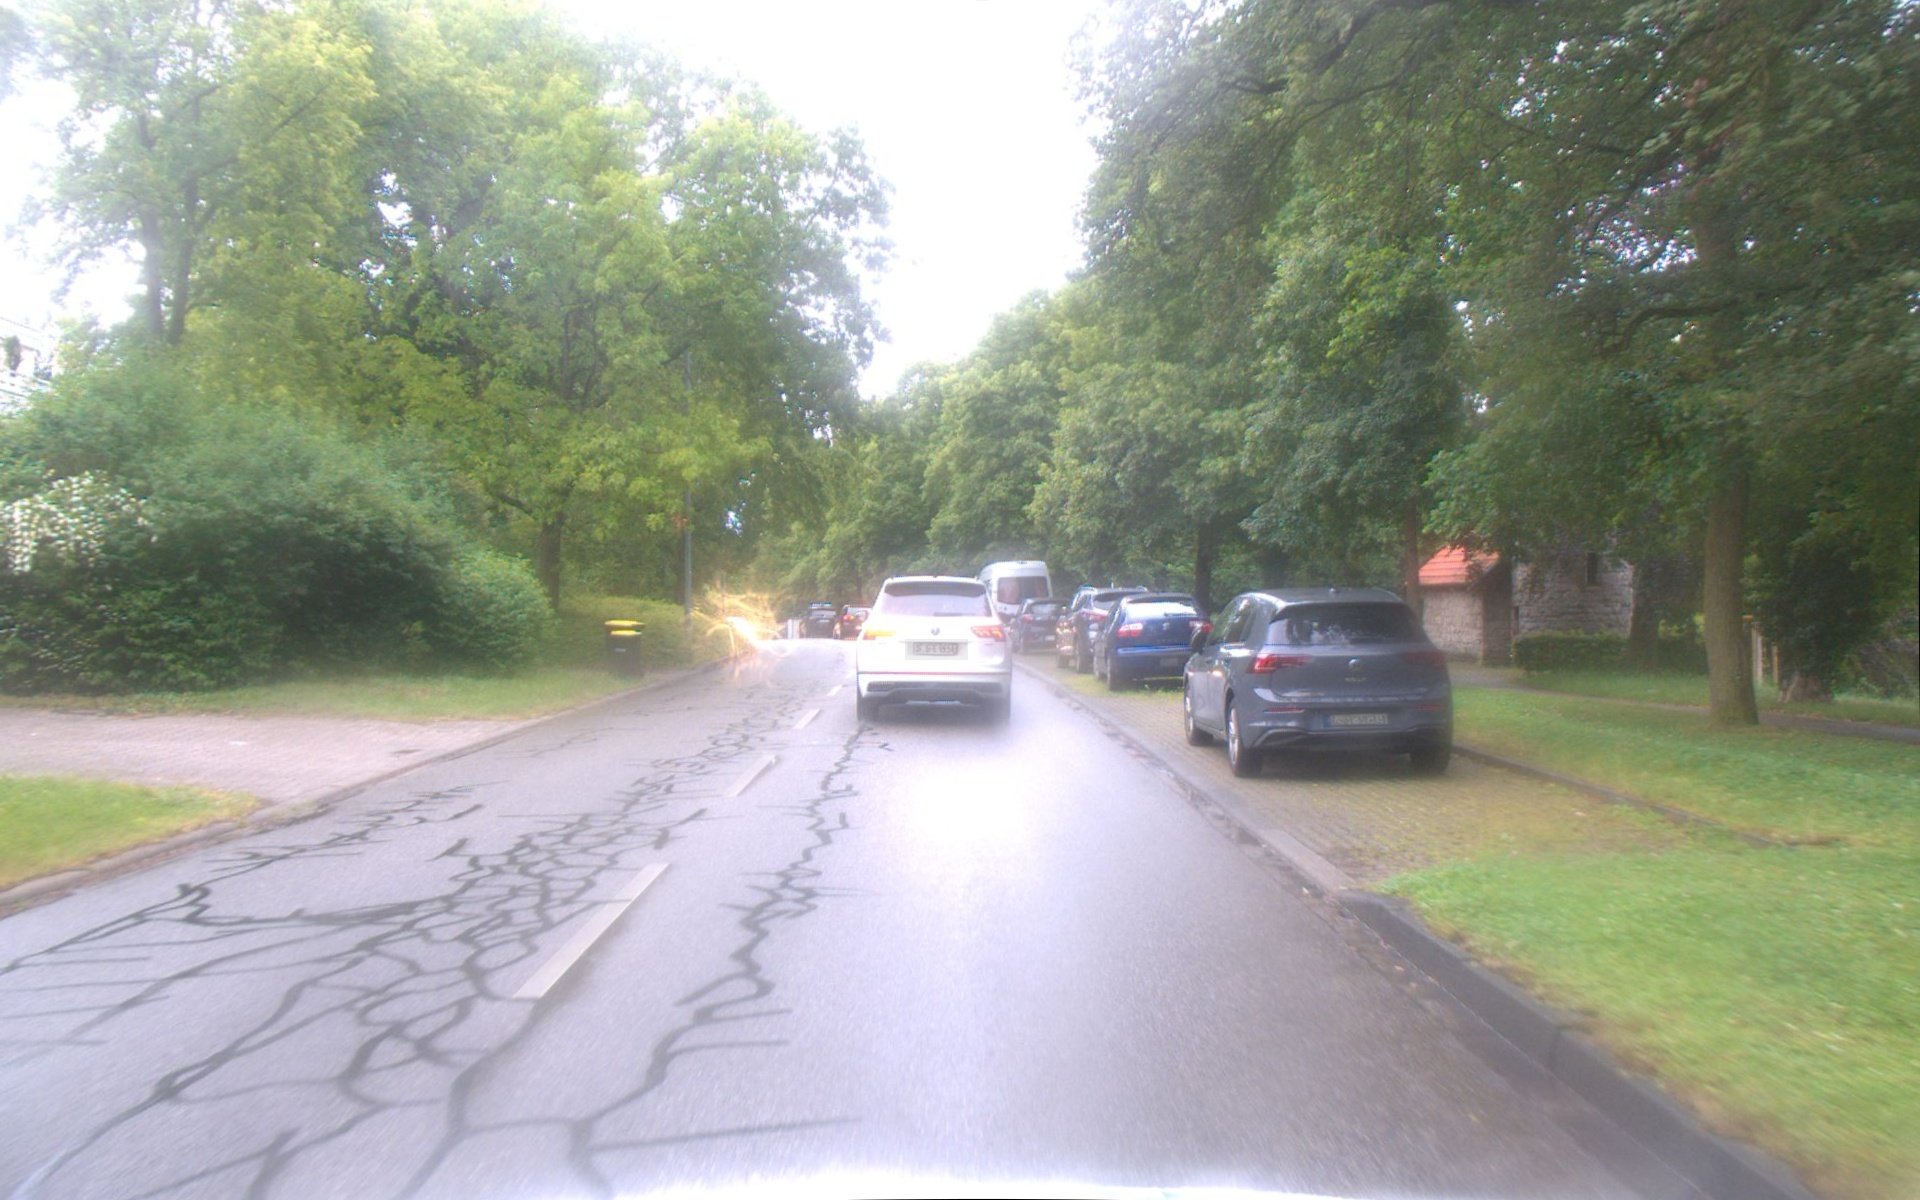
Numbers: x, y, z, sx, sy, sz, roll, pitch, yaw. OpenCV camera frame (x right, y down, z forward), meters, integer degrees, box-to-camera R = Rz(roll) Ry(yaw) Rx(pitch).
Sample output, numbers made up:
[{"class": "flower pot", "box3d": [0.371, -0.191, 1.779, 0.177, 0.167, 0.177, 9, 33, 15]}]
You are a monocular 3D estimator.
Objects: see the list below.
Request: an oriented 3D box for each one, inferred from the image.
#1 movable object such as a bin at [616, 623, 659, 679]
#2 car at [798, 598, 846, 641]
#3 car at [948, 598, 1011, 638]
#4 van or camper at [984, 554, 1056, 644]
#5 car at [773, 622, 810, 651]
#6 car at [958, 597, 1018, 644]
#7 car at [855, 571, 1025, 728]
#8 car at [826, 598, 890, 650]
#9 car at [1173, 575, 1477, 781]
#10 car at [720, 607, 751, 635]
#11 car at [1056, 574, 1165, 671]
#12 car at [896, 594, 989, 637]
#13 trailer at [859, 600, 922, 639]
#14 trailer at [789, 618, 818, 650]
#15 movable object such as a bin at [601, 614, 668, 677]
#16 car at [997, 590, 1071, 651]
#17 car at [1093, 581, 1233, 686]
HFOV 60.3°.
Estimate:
[{"class": "movable object such as a bin", "box3d": [-5.863, 0.921, 30.107, 0.635, 0.996, 0.578, 1, 0, 0]}, {"class": "car", "box3d": [-7.195, 0.984, 85.825, 1.959, 2.048, 3.987, 0, 1, -13]}, {"class": "car", "box3d": [0.753, 0.705, 66.607, 1.955, 1.523, 4.560, -1, 0, -7]}, {"class": "van or camper", "box3d": [1.849, -0.053, 53.277, 1.974, 2.628, 8.435, 1, 0, 0]}, {"class": "car", "box3d": [-12.663, 2.742, 124.066, 1.960, 1.943, 5.486, 0, -4, -14]}, {"class": "car", "box3d": [0.973, 0.727, 59.849, 1.769, 1.566, 4.263, -2, 0, -4]}, {"class": "car", "box3d": [-0.328, 0.531, 20.233, 1.867, 1.715, 4.198, 0, 0, -3]}, {"class": "car", "box3d": [-4.406, 1.003, 70.921, 1.961, 2.048, 3.983, 0, 1, -16]}, {"class": "car", "box3d": [3.002, 0.577, 14.469, 1.666, 1.487, 4.217, -2, 0, -1]}, {"class": "car", "box3d": [-13.165, 1.218, 97.232, 1.634, 1.503, 3.727, -3, 0, -6]}, {"class": "car", "box3d": [2.913, 0.394, 32.730, 1.745, 1.749, 4.261, -1, 0, 0]}, {"class": "car", "box3d": [-0.768, 0.695, 71.774, 3.933, 1.710, 1.603, -3, -2, 40]}, {"class": "trailer", "box3d": [-3.773, 1.074, 88.475, 2.407, 1.844, 5.872, -1, -2, -12]}, {"class": "trailer", "box3d": [-11.293, 2.460, 119.442, 1.504, 2.112, 3.985, -2, -3, -13]}, {"class": "movable object such as a bin", "box3d": [-6.043, 0.837, 30.758, 1.016, 1.124, 0.966, 1, 0, 0]}, {"class": "car", "box3d": [1.942, 0.511, 44.481, 1.827, 1.537, 3.724, -1, 0, 0]}, {"class": "car", "box3d": [3.111, 0.470, 26.040, 1.707, 1.478, 4.000, 1, 0, 0]}]
